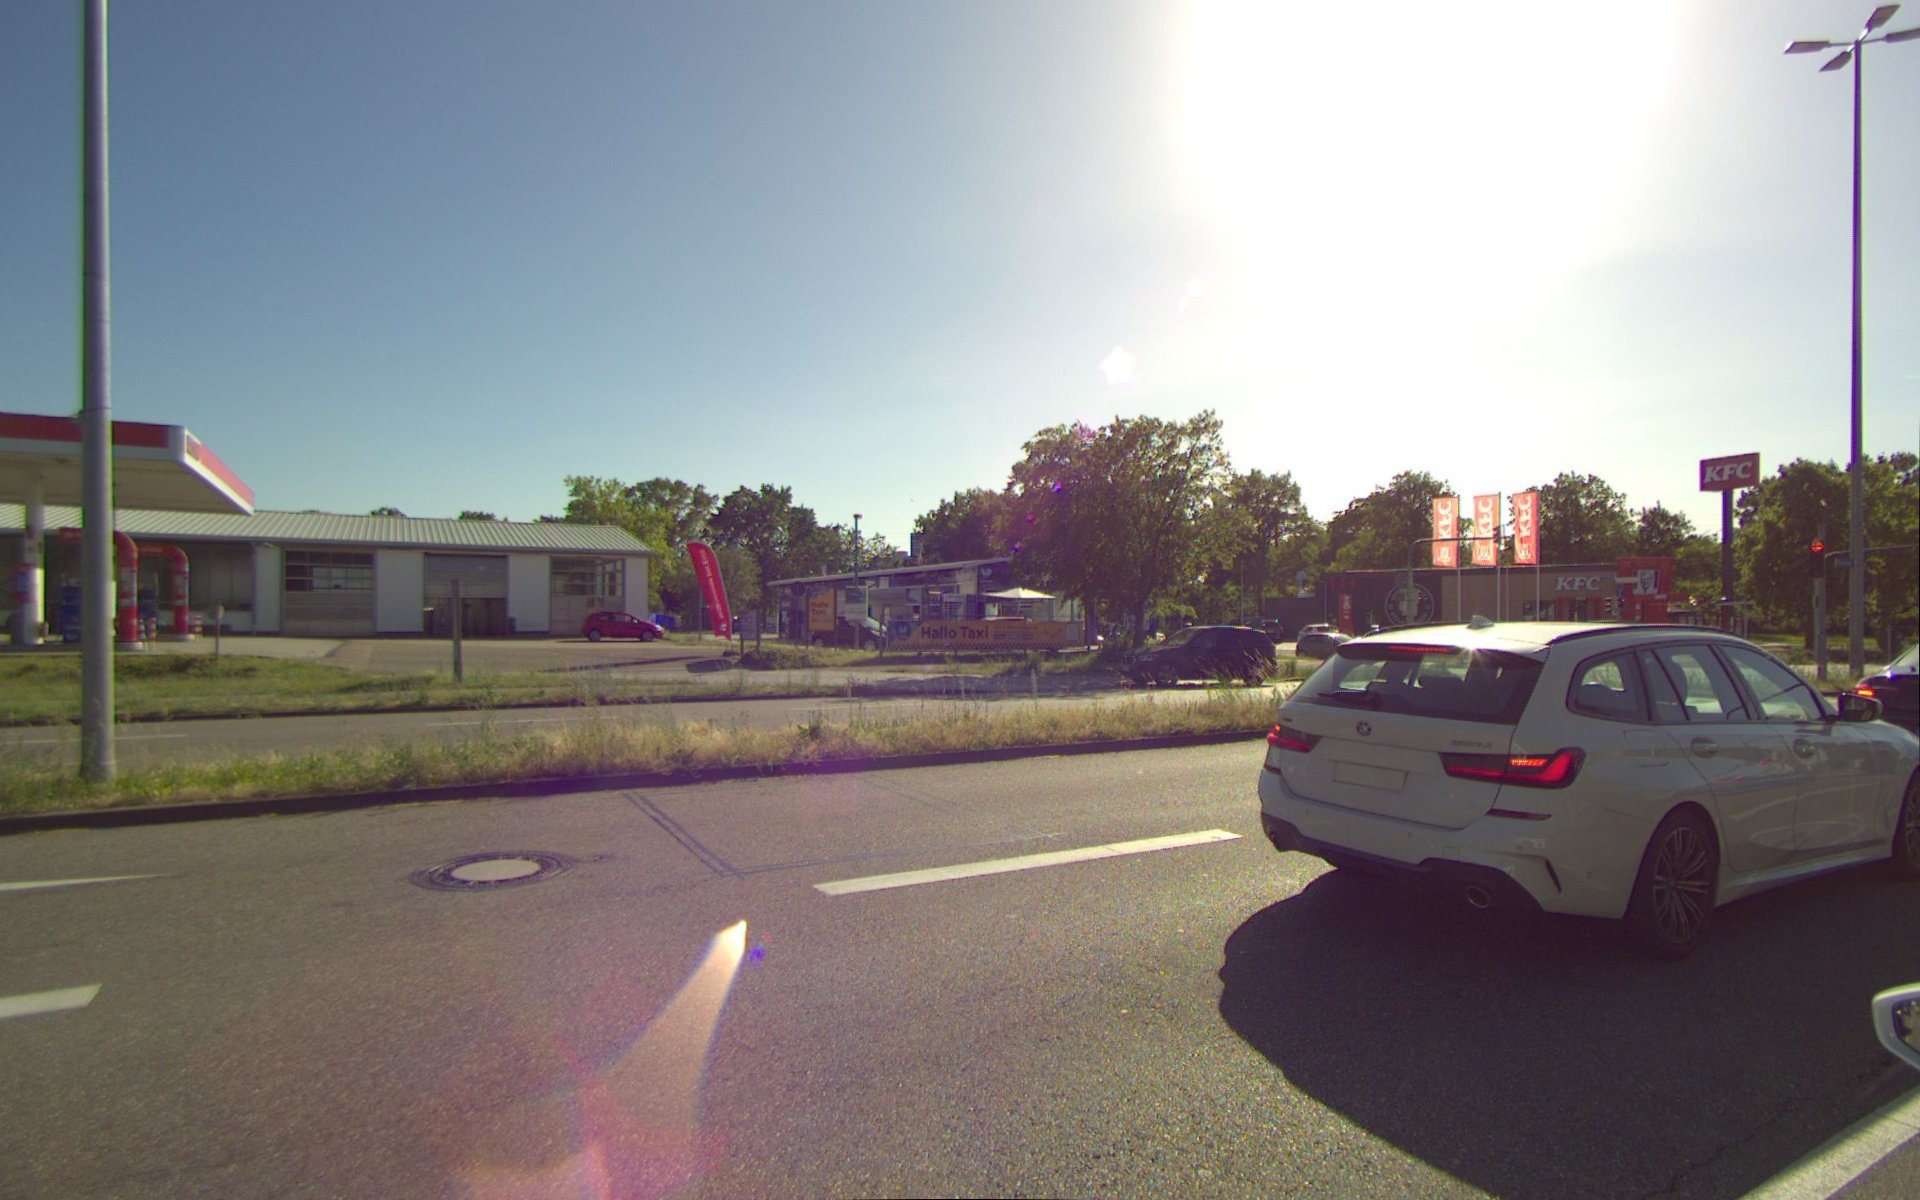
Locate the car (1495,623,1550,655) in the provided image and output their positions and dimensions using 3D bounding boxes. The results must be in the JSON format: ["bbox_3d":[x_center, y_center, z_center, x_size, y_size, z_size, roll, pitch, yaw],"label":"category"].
[{"bbox_3d":[34.083,2.306,60.970,1.896,1.763,4.099,2,0,14],"label":"car"}]

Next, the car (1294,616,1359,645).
[{"bbox_3d":[25.362,2.083,69.537,3.702,1.837,1.998,2,0,-7],"label":"car"}]

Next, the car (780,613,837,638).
[{"bbox_3d":[-8.578,1.424,56.595,1.736,1.268,4.020,2,0,-31],"label":"car"}]

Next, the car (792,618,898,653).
[{"bbox_3d":[-4.588,1.382,39.923,3.930,1.193,1.774,2,0,31],"label":"car"}]

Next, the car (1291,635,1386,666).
[{"bbox_3d":[18.396,2.428,48.980,1.850,1.268,4.062,2,0,-31],"label":"car"}]

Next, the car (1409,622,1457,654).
[{"bbox_3d":[29.231,2.324,62.179,1.896,1.763,4.099,2,0,14],"label":"car"}]

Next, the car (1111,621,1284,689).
[{"bbox_3d":[6.477,1.490,27.562,4.244,1.749,1.805,1,0,-10],"label":"car"}]

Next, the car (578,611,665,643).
[{"bbox_3d":[-16.898,1.337,50.131,3.949,1.491,1.521,2,0,-24],"label":"car"}]

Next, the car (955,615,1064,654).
[{"bbox_3d":[2.014,1.402,41.040,3.941,1.461,1.990,2,0,-21],"label":"car"}]

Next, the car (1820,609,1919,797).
[{"bbox_3d":[10.112,0.908,9.406,4.491,1.572,1.803,1,0,-31],"label":"car"}]

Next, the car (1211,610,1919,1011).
[{"bbox_3d":[3.757,0.844,5.731,4.541,1.506,1.804,1,0,-30],"label":"car"}]
